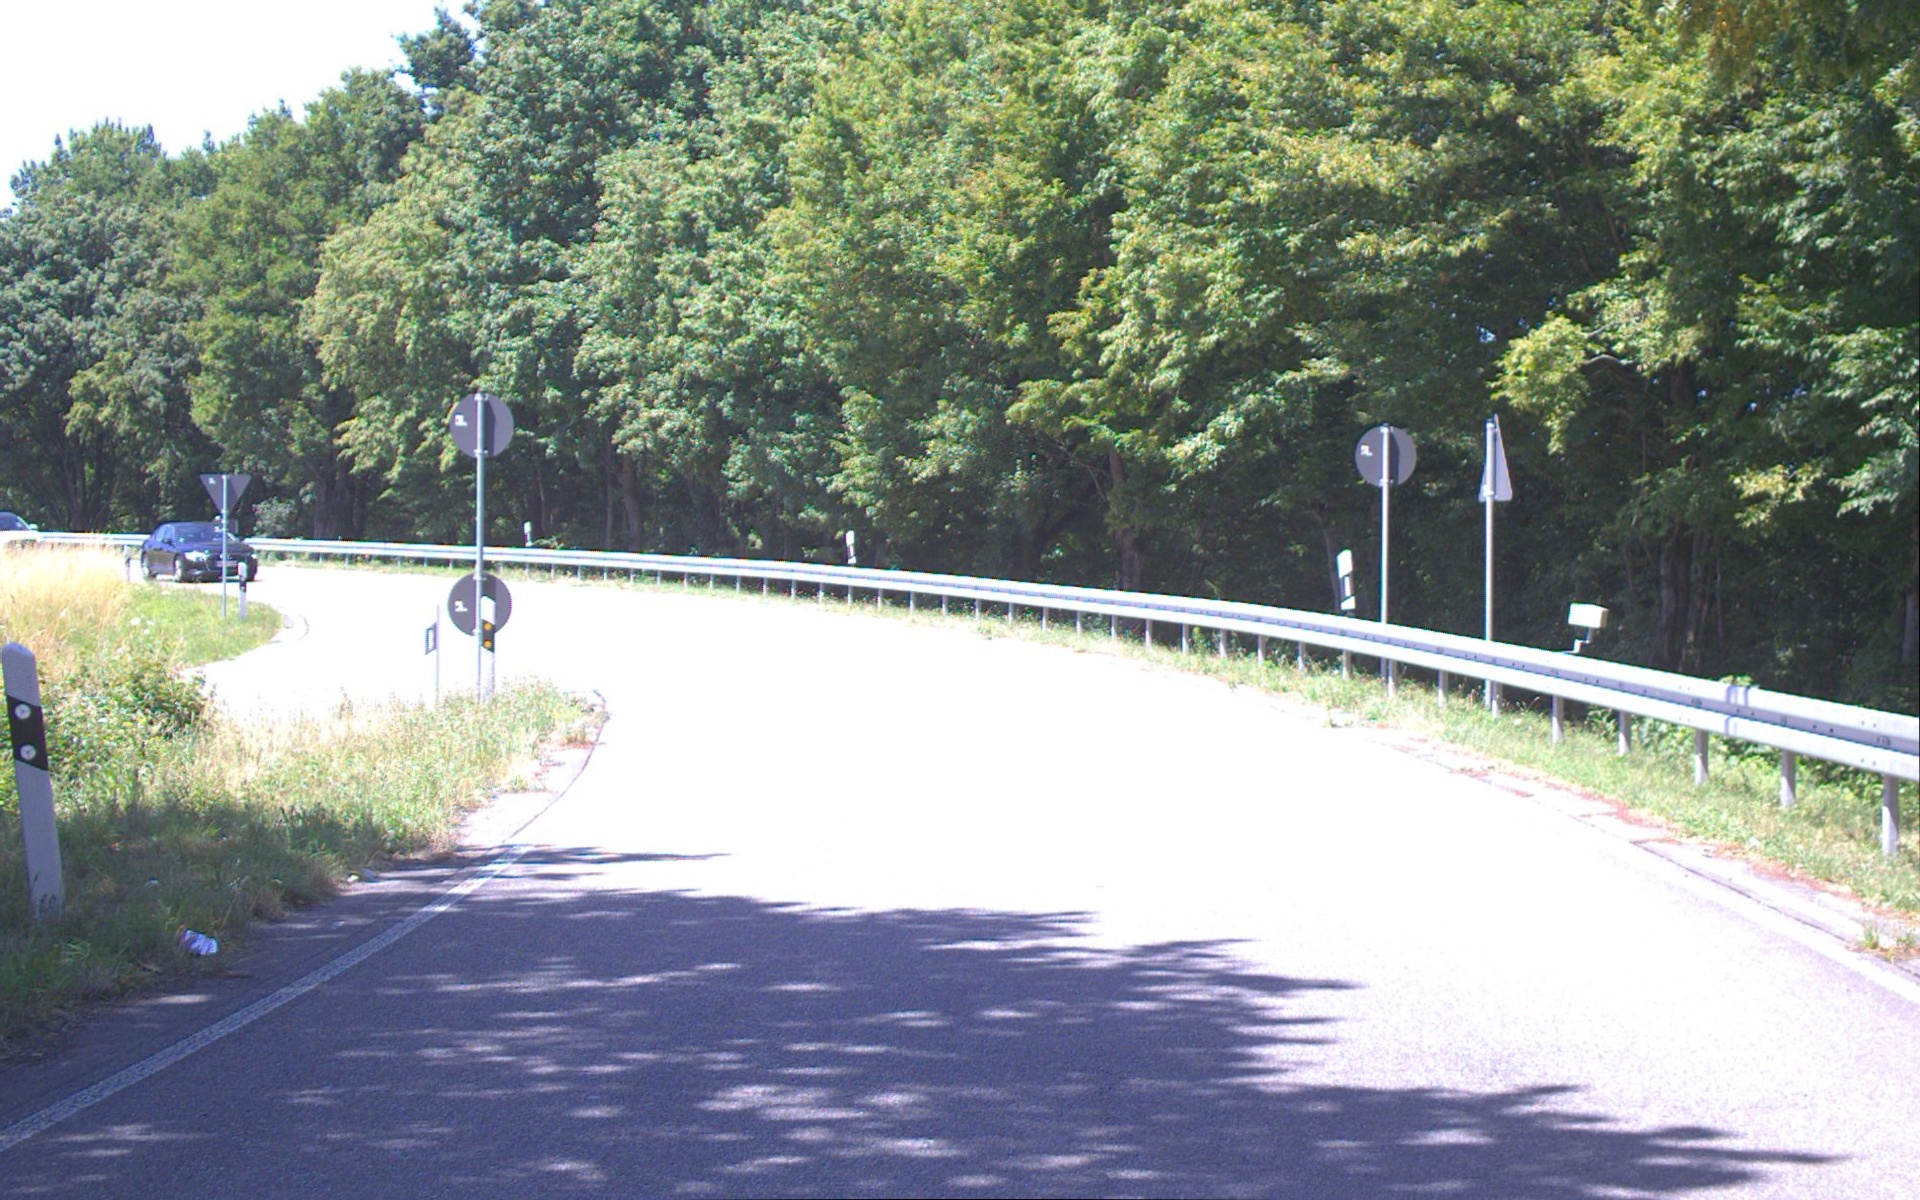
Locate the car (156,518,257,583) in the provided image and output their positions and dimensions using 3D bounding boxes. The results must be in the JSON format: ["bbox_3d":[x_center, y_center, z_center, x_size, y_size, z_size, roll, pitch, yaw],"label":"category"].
[{"bbox_3d":[-18.571,-1.220,84.574,1.802,1.501,4.659,-3,2,-19],"label":"car"}]

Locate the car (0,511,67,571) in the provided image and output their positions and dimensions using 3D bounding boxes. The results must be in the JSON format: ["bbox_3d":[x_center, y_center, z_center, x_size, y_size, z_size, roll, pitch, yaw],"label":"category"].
[{"bbox_3d":[-27.058,-1.708,100.098,1.822,1.585,4.219,-4,2,-16],"label":"car"}]
